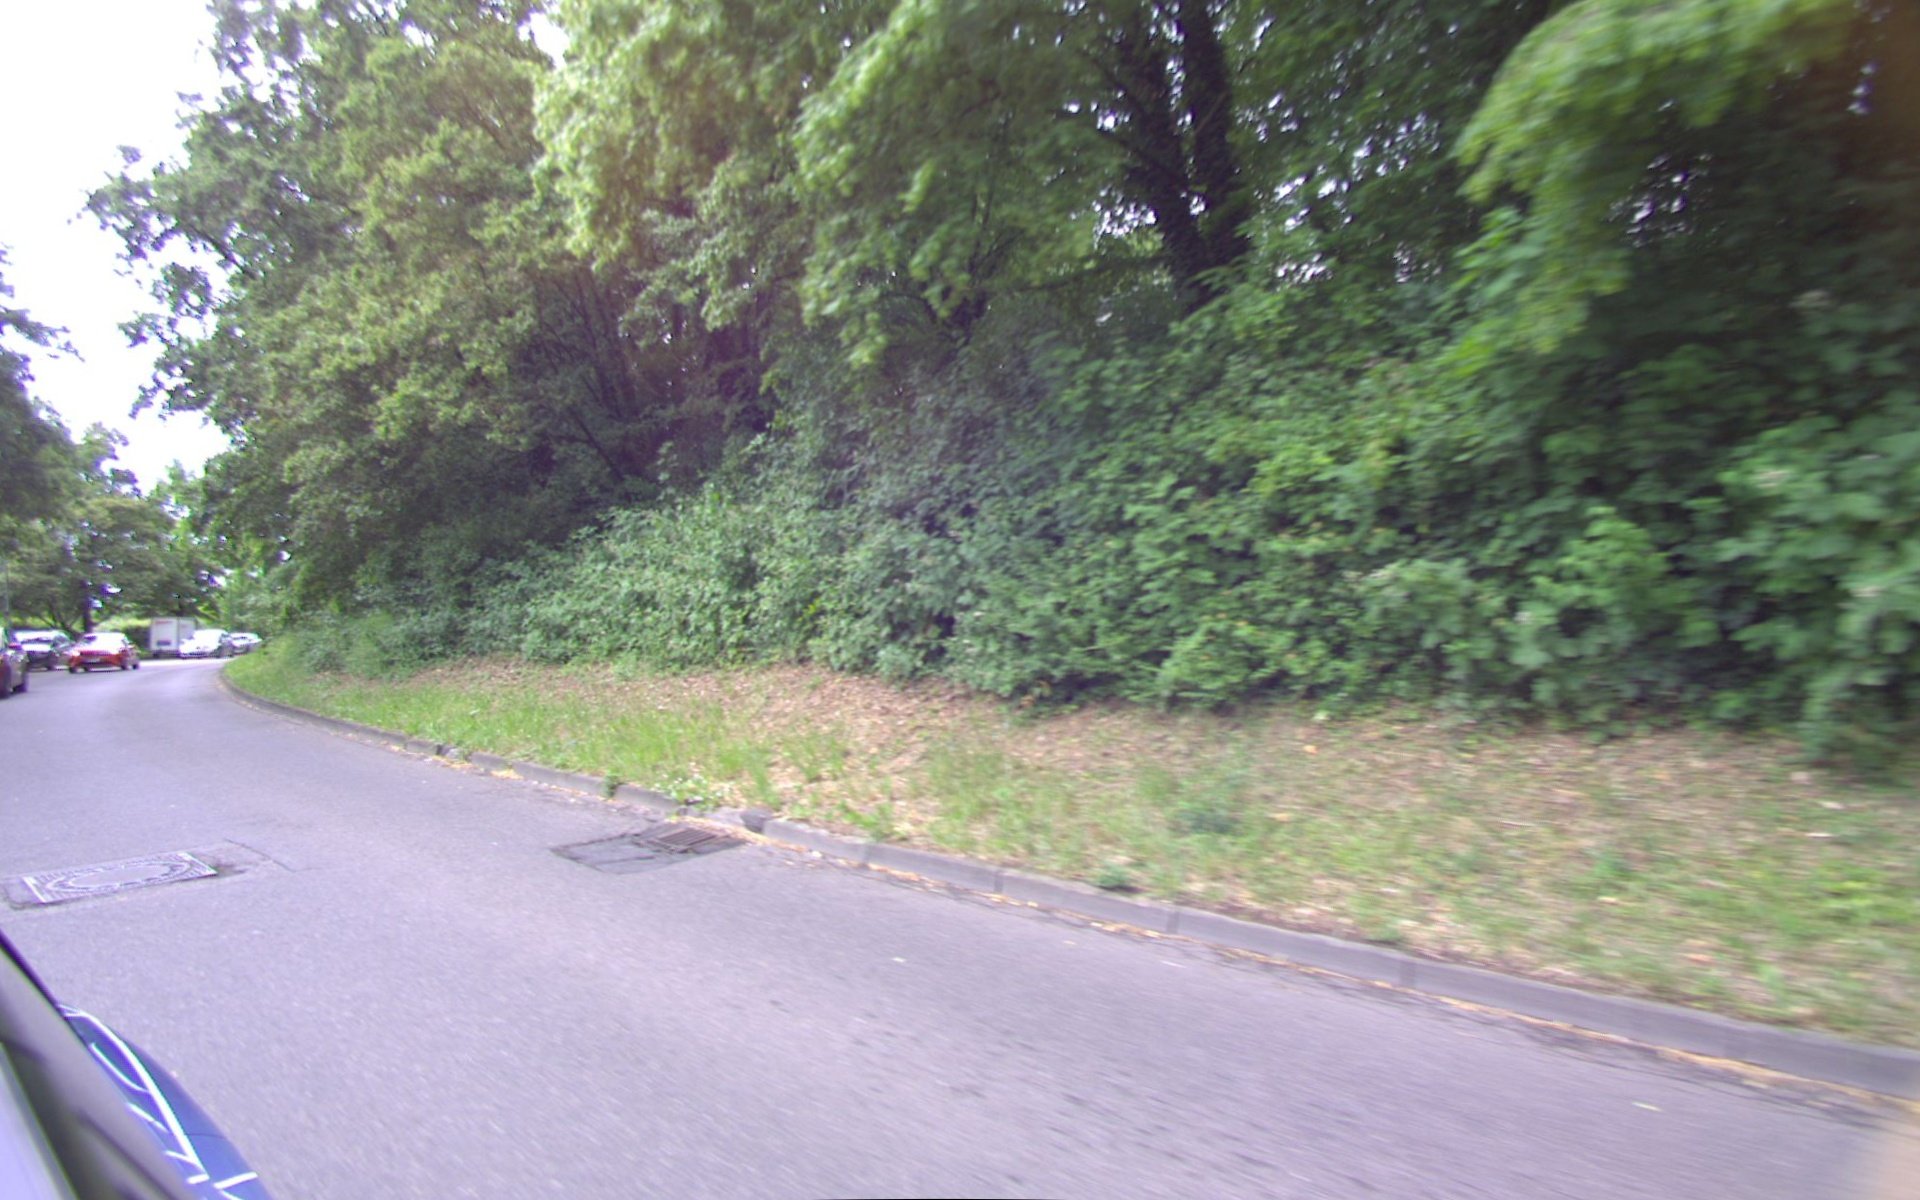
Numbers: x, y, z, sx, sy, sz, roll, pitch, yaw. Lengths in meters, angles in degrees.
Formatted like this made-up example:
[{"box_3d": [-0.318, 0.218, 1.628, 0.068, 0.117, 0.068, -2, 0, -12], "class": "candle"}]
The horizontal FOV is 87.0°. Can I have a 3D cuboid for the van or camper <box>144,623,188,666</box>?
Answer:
[{"box_3d": [-47.247, 2.613, 60.172, 1.968, 2.361, 5.038, -1, 0, -39], "class": "van or camper"}]

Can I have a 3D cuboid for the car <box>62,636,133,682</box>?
[{"box_3d": [-32.468, 2.165, 38.206, 1.928, 1.483, 4.686, -1, 0, -39], "class": "car"}]

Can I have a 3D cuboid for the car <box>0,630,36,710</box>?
[{"box_3d": [-22.566, 1.553, 22.895, 1.972, 1.621, 4.688, -1, 0, -36], "class": "car"}]

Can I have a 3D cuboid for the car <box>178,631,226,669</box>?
[{"box_3d": [-41.914, 2.726, 55.908, 1.928, 1.853, 4.686, -1, 0, -39], "class": "car"}]
